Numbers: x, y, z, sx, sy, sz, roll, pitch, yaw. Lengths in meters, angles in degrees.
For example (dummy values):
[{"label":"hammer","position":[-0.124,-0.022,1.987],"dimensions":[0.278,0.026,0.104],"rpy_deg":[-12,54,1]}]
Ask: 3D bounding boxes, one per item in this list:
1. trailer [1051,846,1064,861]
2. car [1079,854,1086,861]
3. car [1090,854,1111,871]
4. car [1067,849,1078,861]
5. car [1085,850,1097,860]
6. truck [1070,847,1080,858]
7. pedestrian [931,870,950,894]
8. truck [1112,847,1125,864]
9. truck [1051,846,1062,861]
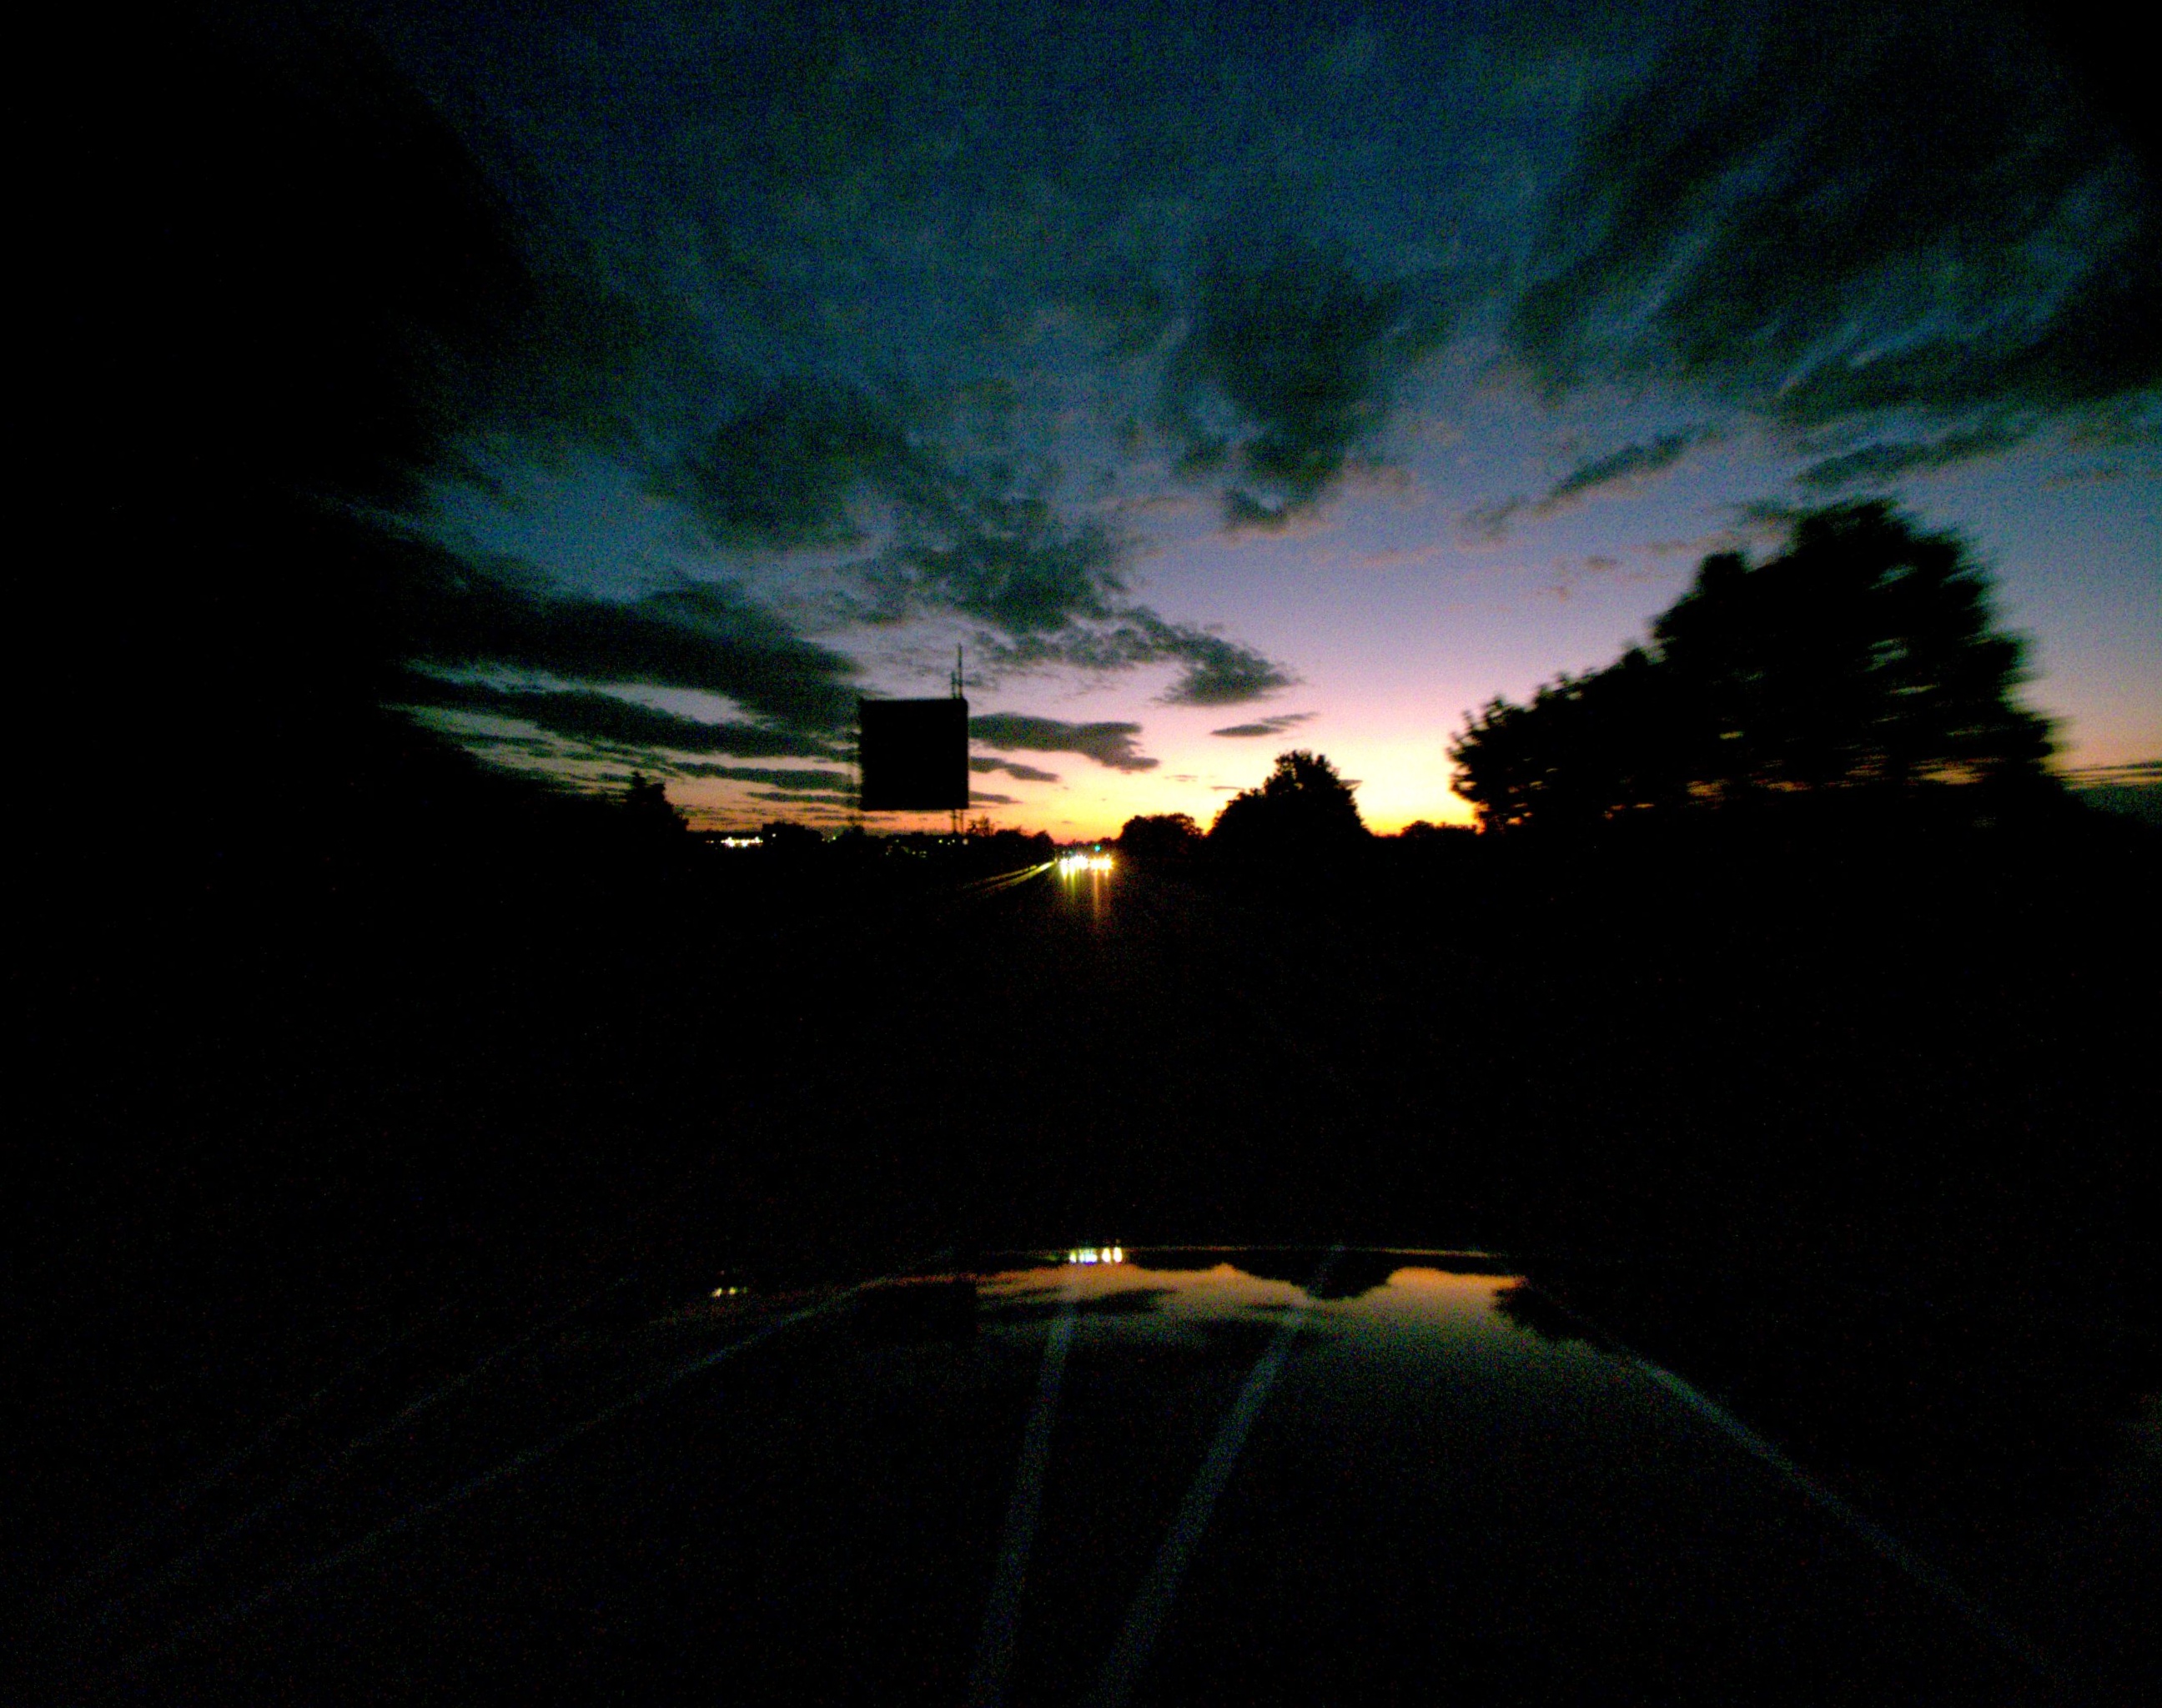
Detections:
[{"label":"trailer","position":[-6.092,-0.218,198.334],"dimensions":[2.475,3.789,12.671],"rpy_deg":[-2,0,1]},{"label":"car","position":[0.479,0.960,214.849],"dimensions":[1.998,2.002,4.000],"rpy_deg":[-2,0,0]},{"label":"car","position":[1.954,0.843,79.043],"dimensions":[1.999,1.635,4.296],"rpy_deg":[-2,0,0]},{"label":"car","position":[-1.477,0.173,134.581],"dimensions":[1.741,2.002,3.999],"rpy_deg":[-2,0,-2]},{"label":"car","position":[1.755,0.155,139.546],"dimensions":[1.999,1.778,3.999],"rpy_deg":[-2,0,-1]},{"label":"truck","position":[-1.975,-0.460,254.658],"dimensions":[3.016,3.674,9.058],"rpy_deg":[-2,0,0]},{"label":"pedestrian","position":[-9.889,1.946,53.651],"dimensions":[1.064,1.633,1.118],"rpy_deg":[-2,1,-1]},{"label":"truck","position":[11.919,0.411,243.838],"dimensions":[3.211,5.225,12.605],"rpy_deg":[-2,1,-1]},{"label":"truck","position":[-6.193,-0.167,191.070],"dimensions":[2.491,3.778,5.498],"rpy_deg":[-2,1,0]}]
